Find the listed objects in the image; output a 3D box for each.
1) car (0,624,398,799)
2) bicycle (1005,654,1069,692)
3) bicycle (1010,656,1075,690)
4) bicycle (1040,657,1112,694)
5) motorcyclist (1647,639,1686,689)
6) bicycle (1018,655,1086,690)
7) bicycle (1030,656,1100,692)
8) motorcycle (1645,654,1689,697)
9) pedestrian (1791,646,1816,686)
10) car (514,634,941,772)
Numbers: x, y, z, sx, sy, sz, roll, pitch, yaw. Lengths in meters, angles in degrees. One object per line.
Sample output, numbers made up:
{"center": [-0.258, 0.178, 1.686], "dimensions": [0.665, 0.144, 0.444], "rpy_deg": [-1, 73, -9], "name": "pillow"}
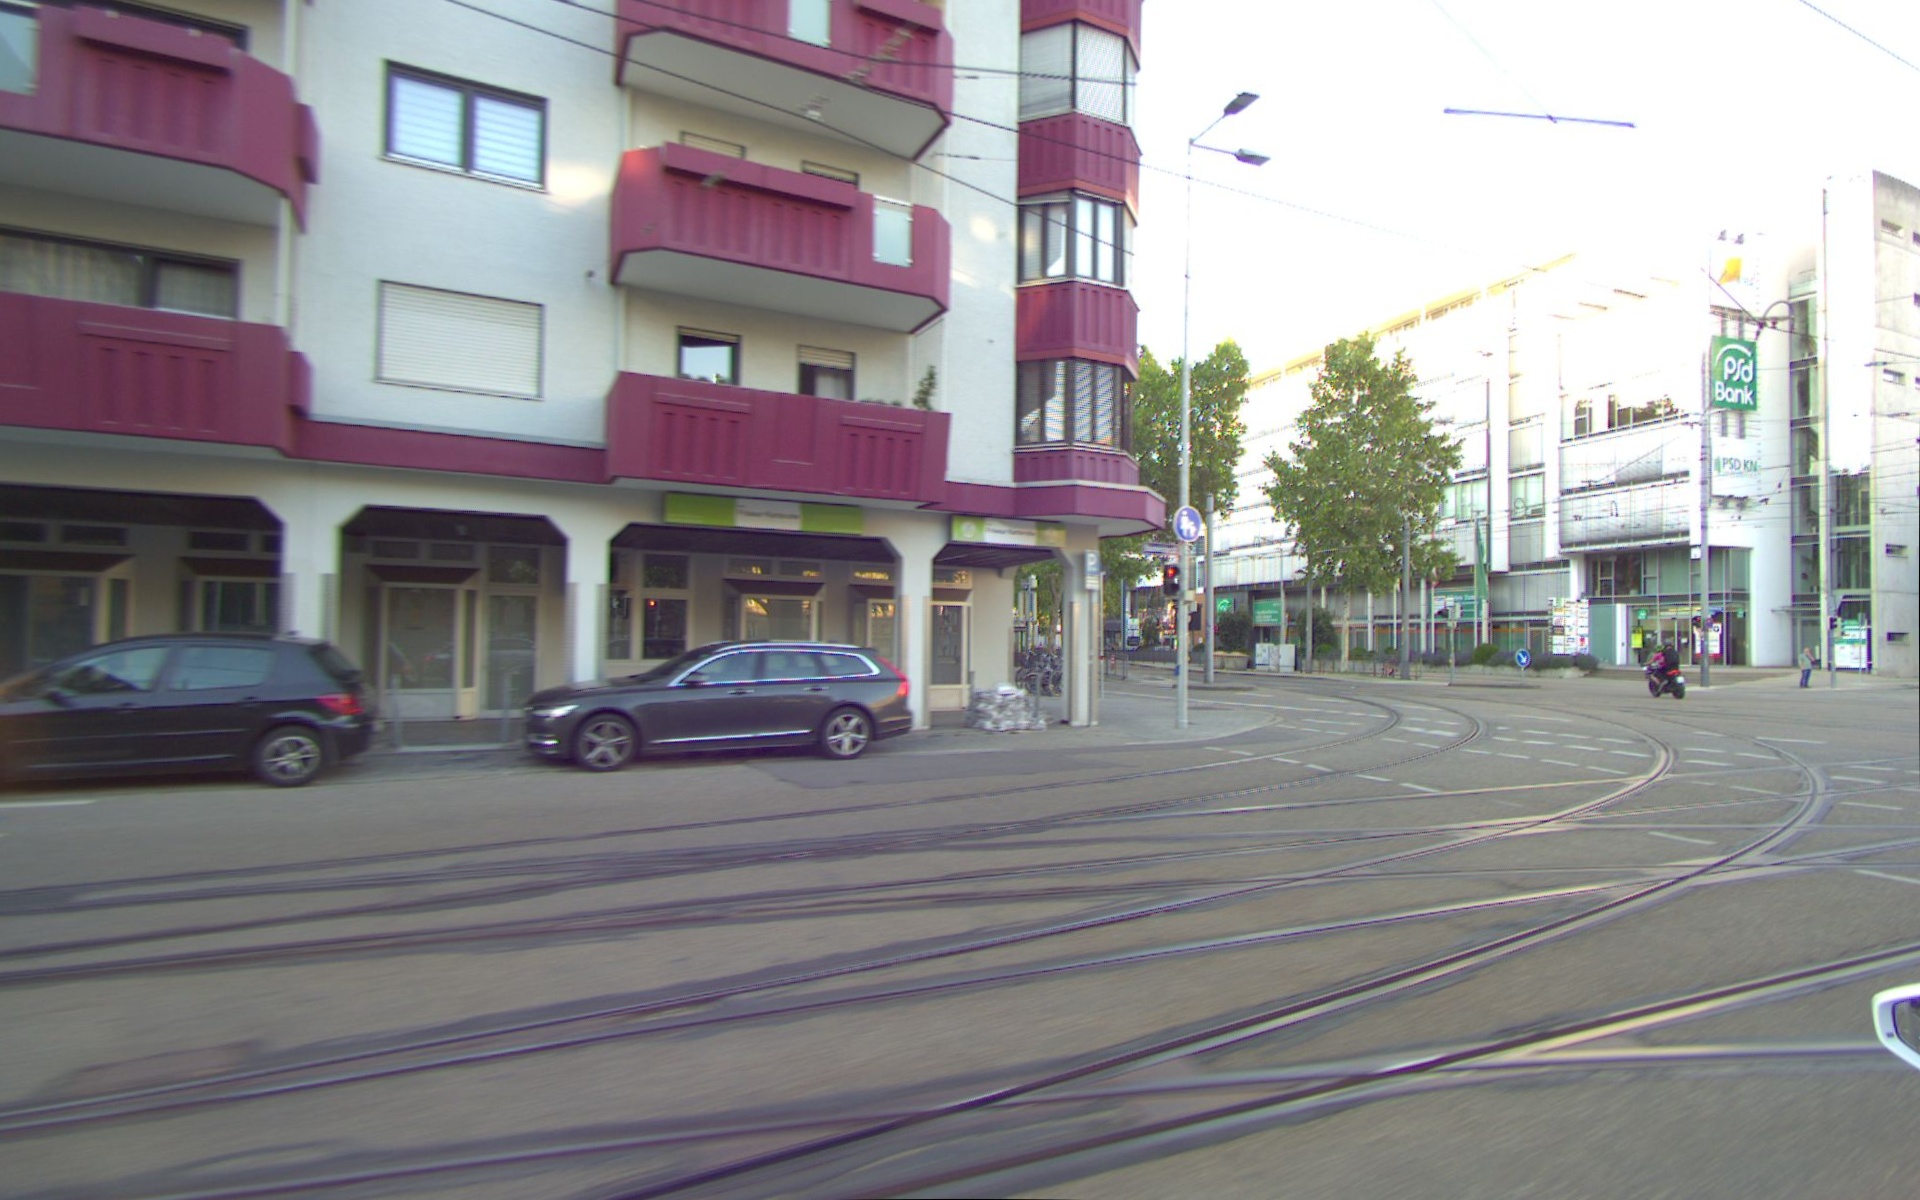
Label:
{"center": [-8.195, 1.061, 10.240], "dimensions": [4.145, 1.528, 1.782], "rpy_deg": [2, -1, -26], "name": "car"}
{"center": [2.264, 2.162, 29.679], "dimensions": [1.810, 1.075, 0.497], "rpy_deg": [2, -2, -15], "name": "bicycle"}
{"center": [2.403, 2.119, 29.178], "dimensions": [1.810, 0.970, 0.497], "rpy_deg": [2, -2, -15], "name": "bicycle"}
{"center": [3.113, 2.032, 27.047], "dimensions": [1.810, 0.970, 0.672], "rpy_deg": [2, -2, -15], "name": "bicycle"}
{"center": [21.878, 1.963, 31.132], "dimensions": [0.816, 1.492, 1.205], "rpy_deg": [0, -2, 28], "name": "motorcyclist"}
{"center": [2.612, 2.064, 28.581], "dimensions": [1.810, 0.970, 0.594], "rpy_deg": [2, -2, -15], "name": "bicycle"}
{"center": [2.912, 2.054, 27.864], "dimensions": [1.810, 0.970, 0.672], "rpy_deg": [2, -2, -15], "name": "bicycle"}
{"center": [21.864, 2.304, 31.097], "dimensions": [0.816, 1.256, 2.488], "rpy_deg": [0, -2, 28], "name": "motorcycle"}
{"center": [37.467, 2.935, 44.633], "dimensions": [0.648, 1.733, 0.547], "rpy_deg": [1, -2, -9], "name": "pedestrian"}
{"center": [-2.909, 1.230, 12.829], "dimensions": [5.019, 1.476, 1.846], "rpy_deg": [2, -2, -26], "name": "car"}
